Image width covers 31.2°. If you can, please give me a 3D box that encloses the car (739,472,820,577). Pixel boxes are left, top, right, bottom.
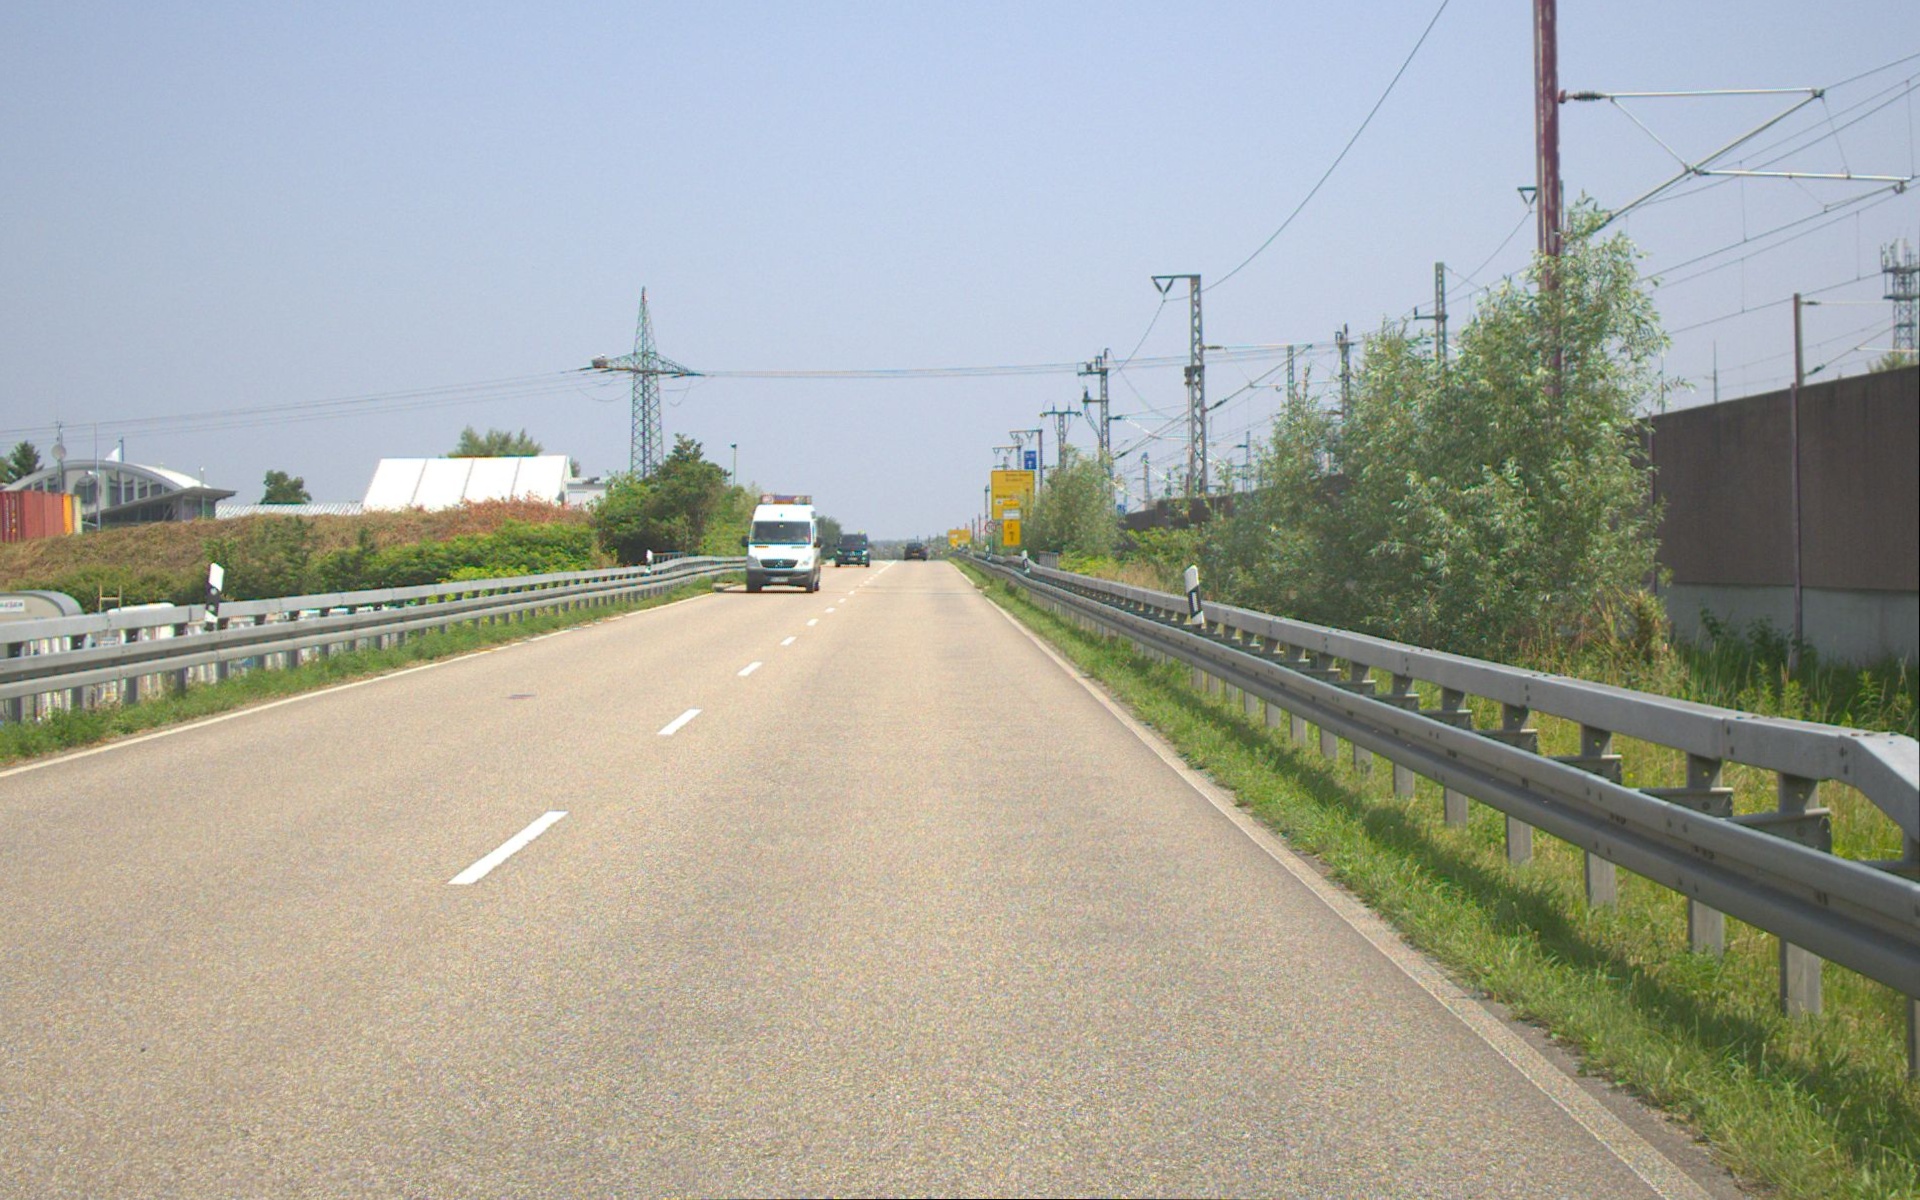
[{"bbox_3d":[-5.263,-2.194,101.077,2.079,2.952,6.730,1,1,-1],"label":"car"}]

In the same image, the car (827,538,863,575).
[{"bbox_3d":[-6.426,-2.458,192.799,1.893,2.007,5.370,1,1,-1],"label":"car"}]
